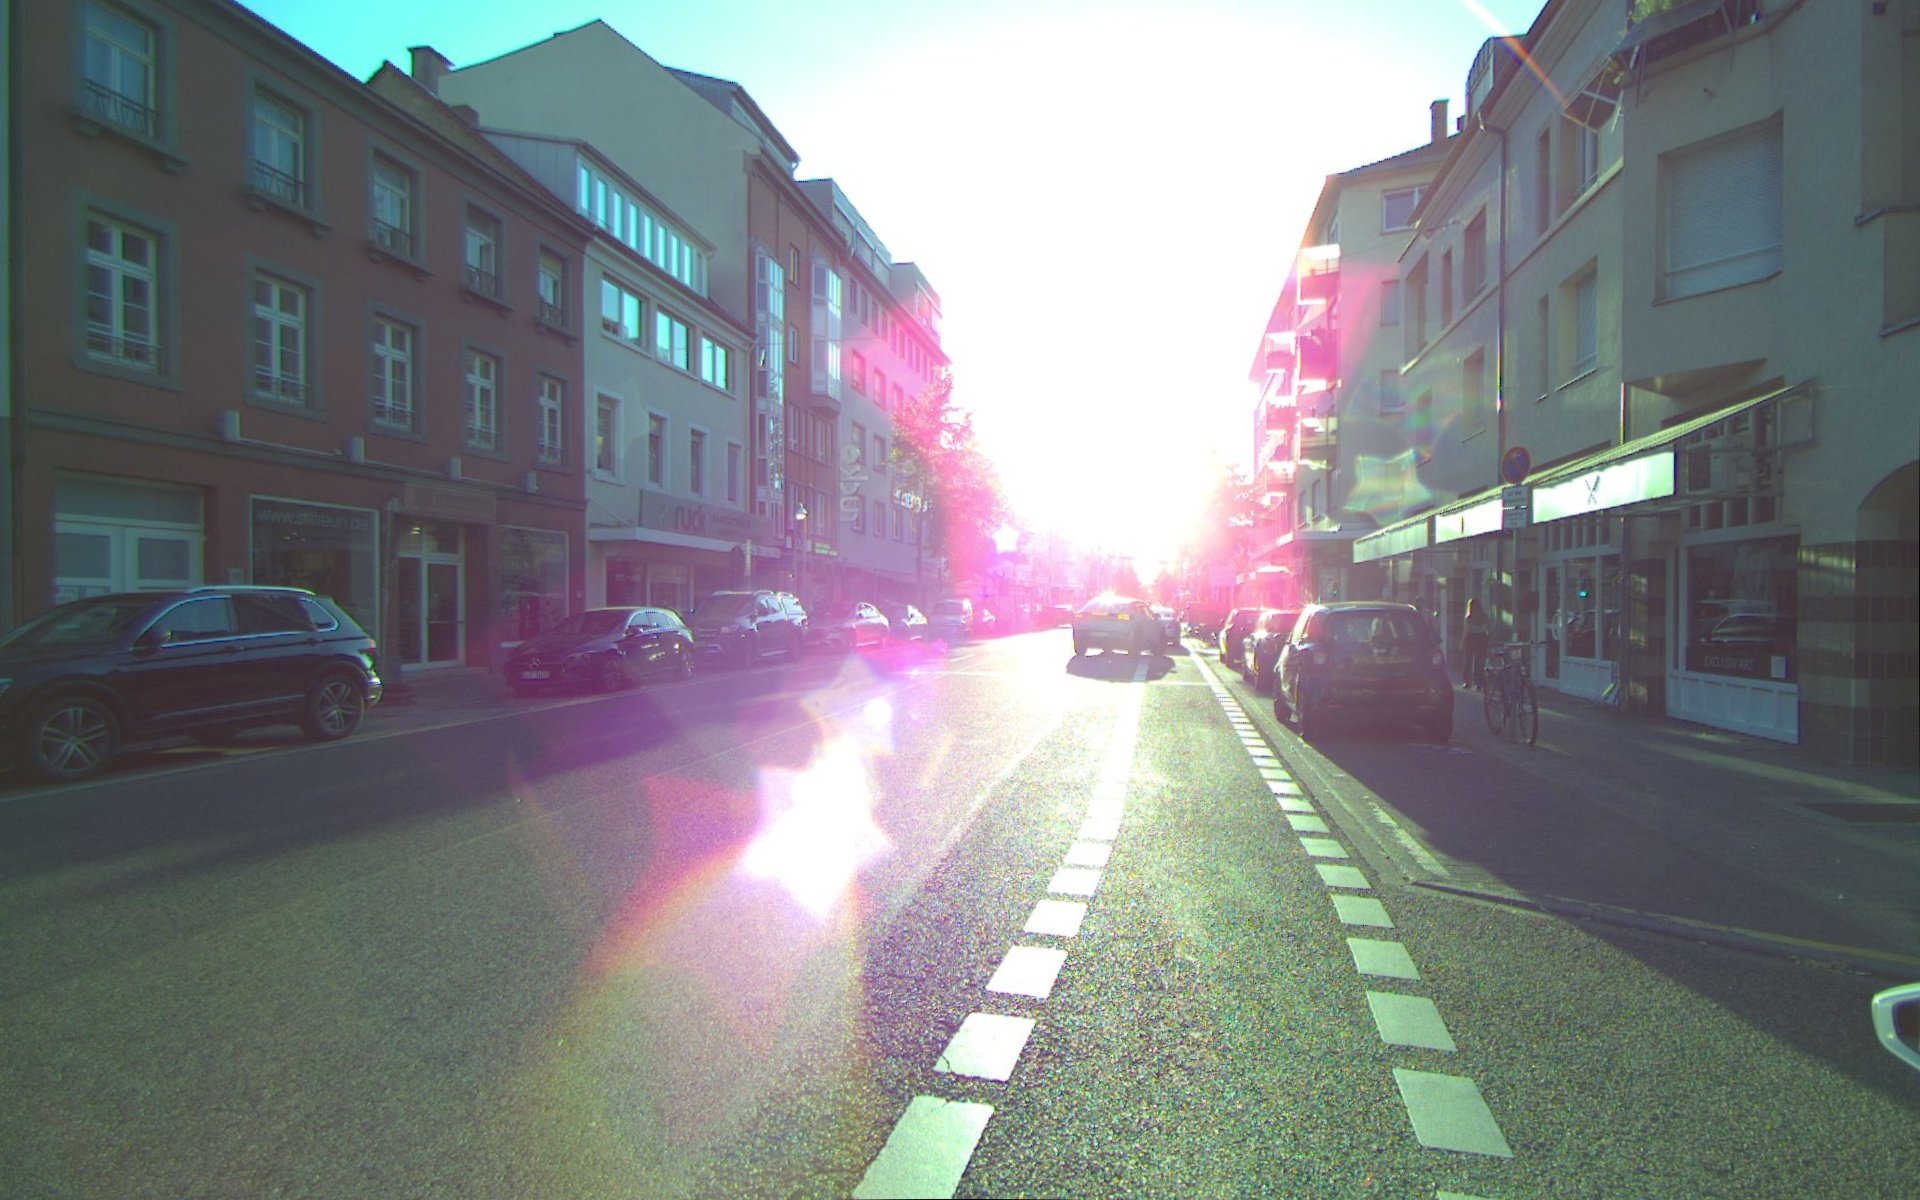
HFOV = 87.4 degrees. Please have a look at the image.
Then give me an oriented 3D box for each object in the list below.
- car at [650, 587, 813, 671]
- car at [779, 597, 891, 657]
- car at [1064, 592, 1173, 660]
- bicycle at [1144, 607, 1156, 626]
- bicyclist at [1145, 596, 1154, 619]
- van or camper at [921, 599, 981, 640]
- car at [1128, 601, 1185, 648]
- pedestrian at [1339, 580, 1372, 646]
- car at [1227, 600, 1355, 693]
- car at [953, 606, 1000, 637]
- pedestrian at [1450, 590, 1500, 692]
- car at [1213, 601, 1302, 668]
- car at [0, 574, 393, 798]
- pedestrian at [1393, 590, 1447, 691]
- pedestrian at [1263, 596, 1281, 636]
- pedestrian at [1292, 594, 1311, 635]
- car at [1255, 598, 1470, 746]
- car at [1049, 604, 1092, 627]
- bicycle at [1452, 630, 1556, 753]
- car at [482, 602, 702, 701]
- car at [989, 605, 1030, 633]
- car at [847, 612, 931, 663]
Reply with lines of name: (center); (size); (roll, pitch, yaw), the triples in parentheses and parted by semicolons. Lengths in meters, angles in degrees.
car: (-5.341, 0.641, 24.345); (1.959, 1.801, 5.322); (-1, 0, 9)
car: (-3.726, 0.770, 30.763); (1.959, 1.677, 4.630); (-1, 0, 12)
car: (4.597, 0.698, 28.682); (1.844, 1.720, 4.316); (2, 0, 26)
bicycle: (13.232, 1.143, 69.976); (0.652, 1.259, 2.131); (2, 0, 14)
bicyclist: (13.225, 0.535, 69.984); (0.537, 1.602, 0.803); (0, 0, 14)
van or camper: (-0.345, 0.837, 45.887); (1.757, 1.797, 4.560); (0, 0, 13)
car: (7.432, 0.880, 38.113); (1.959, 1.626, 4.407); (1, 0, 10)
pedestrian: (10.626, 0.346, 27.009); (0.706, 1.757, 0.738); (-1, 0, 11)
car: (6.246, 0.810, 19.341); (1.758, 1.601, 3.789); (0, 0, 9)
car: (0.890, 1.062, 51.858); (1.661, 1.523, 3.789); (0, 0, 13)
pedestrian: (8.867, 0.693, 17.320); (0.550, 1.722, 0.832); (0, 0, 11)
car: (7.624, 0.818, 26.034); (1.758, 1.601, 3.789); (0, 0, 9)
car: (-7.900, 0.692, 9.658); (1.763, 1.721, 4.463); (-2, 0, 11)
pedestrian: (8.087, 0.698, 17.691); (0.619, 1.722, 1.041); (0, 0, 11)
pedestrian: (14.367, 0.733, 46.210); (0.706, 1.815, 0.667); (-1, 0, 12)
pedestrian: (15.278, 0.630, 44.989); (0.706, 1.815, 0.667); (-1, 0, 12)
car: (4.965, 0.778, 12.956); (1.758, 1.601, 3.969); (0, 0, 9)
car: (7.649, 1.056, 69.704); (1.657, 1.473, 3.461); (2, 0, -19)
bicycle: (6.166, 0.980, 11.485); (0.549, 1.222, 1.978); (0, 0, 14)
car: (-6.412, 0.831, 18.108); (1.656, 1.508, 4.413); (-3, 0, 11)
car: (2.842, 1.051, 56.818); (1.661, 1.523, 3.789); (0, 0, 13)
car: (-2.482, 1.304, 36.413); (1.959, 1.677, 4.483); (0, 0, 11)
